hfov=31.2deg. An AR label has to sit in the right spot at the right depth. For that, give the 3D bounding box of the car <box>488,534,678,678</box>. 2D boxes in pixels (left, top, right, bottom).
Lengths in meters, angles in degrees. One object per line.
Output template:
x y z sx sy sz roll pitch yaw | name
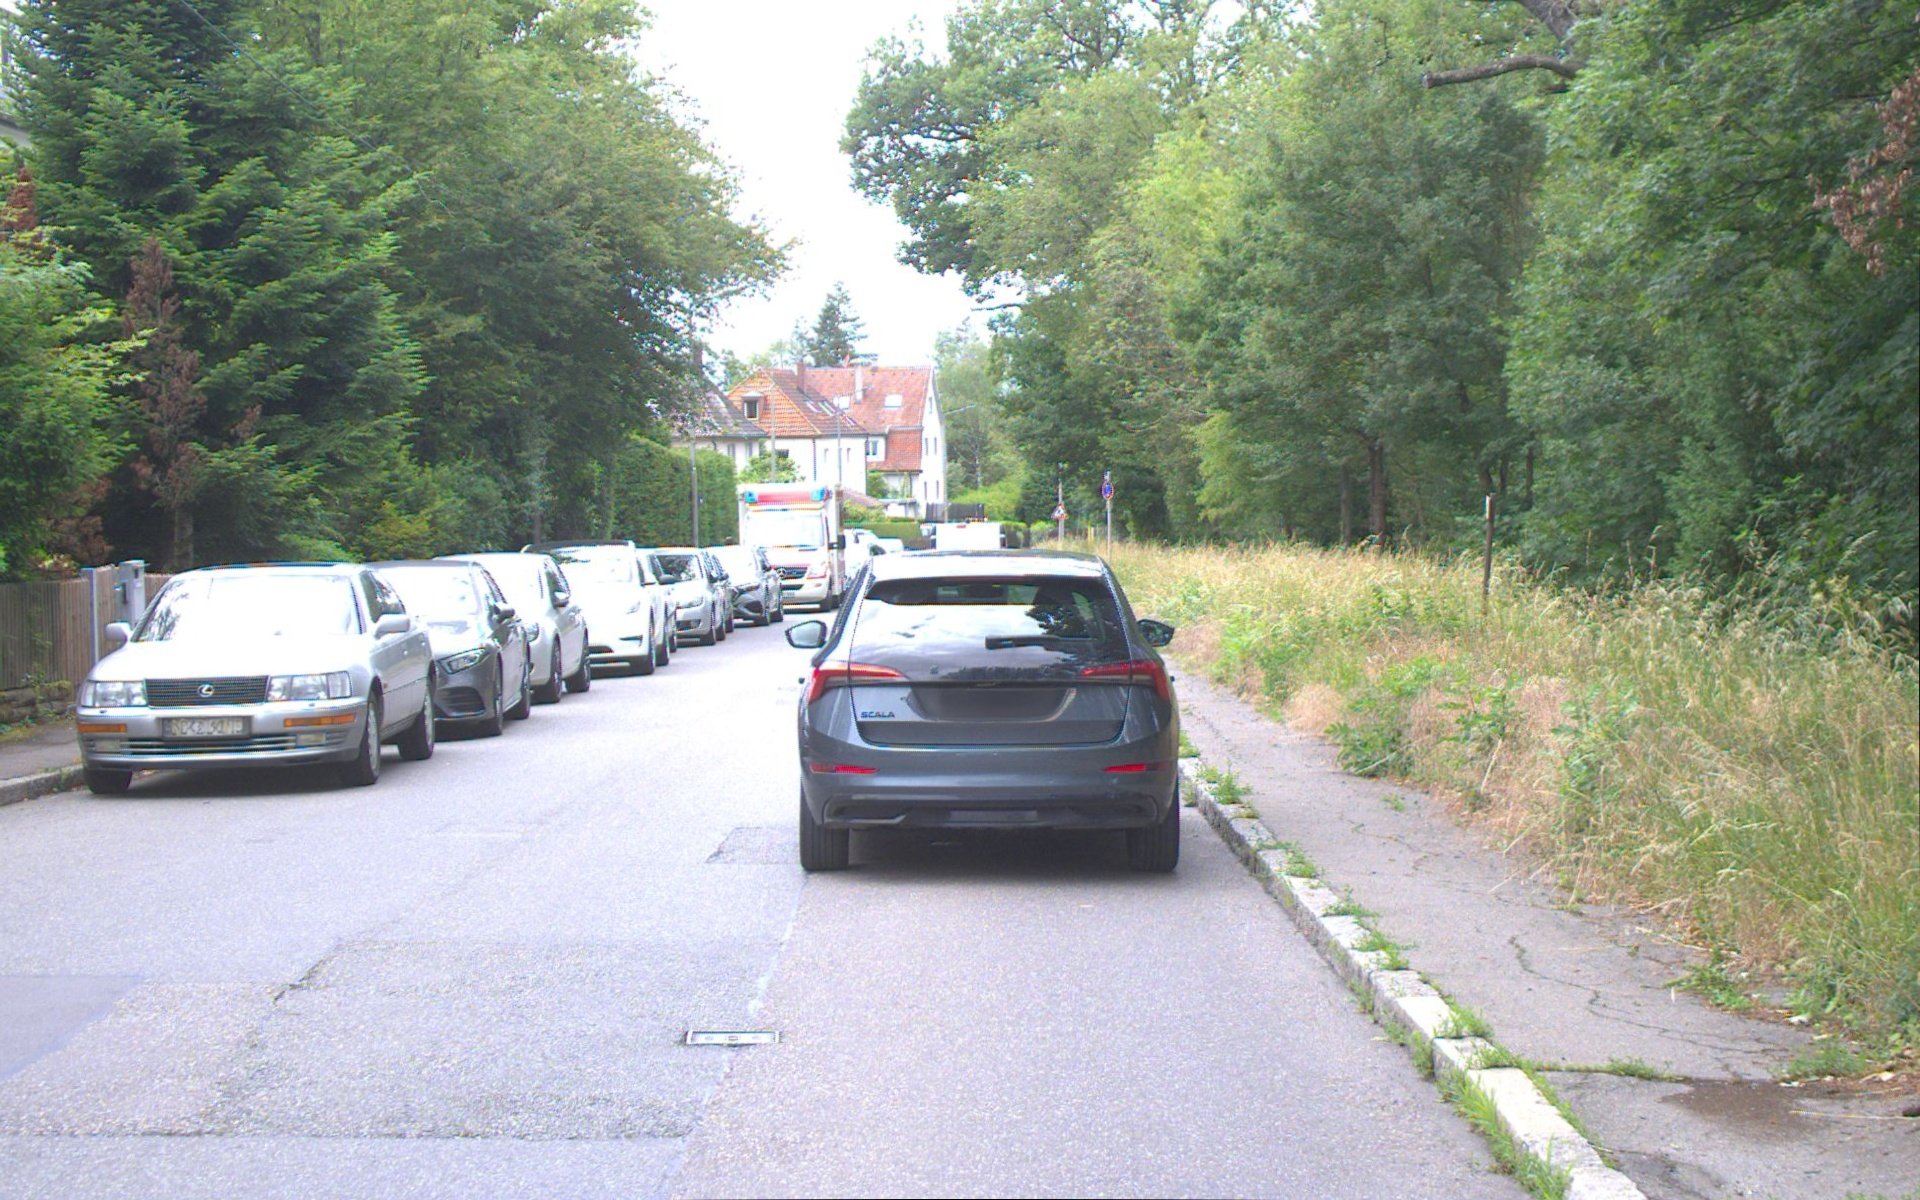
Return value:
-4.521 0.027 41.829 1.916 1.556 4.604 -3 1 -2 | car

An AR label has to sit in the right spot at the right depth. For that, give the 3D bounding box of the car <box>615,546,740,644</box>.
-4.689 -0.107 57.479 1.720 1.499 4.060 -3 1 0 | car

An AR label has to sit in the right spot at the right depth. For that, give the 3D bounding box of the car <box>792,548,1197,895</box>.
0.044 0.485 16.810 1.727 1.434 4.324 0 1 -3 | car

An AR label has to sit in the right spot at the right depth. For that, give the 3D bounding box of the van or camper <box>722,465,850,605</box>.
-3.791 -1.438 76.139 2.456 2.885 7.168 -1 1 0 | van or camper

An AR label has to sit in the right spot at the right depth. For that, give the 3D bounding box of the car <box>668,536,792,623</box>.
-4.305 -0.423 65.026 1.798 1.499 4.863 -3 1 2 | car

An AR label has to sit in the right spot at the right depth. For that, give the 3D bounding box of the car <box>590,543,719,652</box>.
-4.588 -0.064 52.114 1.720 1.499 4.008 -3 1 -3 | car

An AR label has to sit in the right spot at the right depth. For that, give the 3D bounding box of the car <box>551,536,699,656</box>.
-4.562 -0.086 47.252 1.720 1.499 3.817 -3 1 -2 | car

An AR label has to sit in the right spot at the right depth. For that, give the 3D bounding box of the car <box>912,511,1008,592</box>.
-0.045 -1.196 83.612 2.071 1.915 4.923 0 1 -3 | car

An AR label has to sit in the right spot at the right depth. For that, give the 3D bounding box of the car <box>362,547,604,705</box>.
-4.760 0.219 34.835 1.834 1.434 4.117 -2 1 0 | car

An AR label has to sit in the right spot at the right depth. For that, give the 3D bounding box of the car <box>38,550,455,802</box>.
-4.604 0.413 22.915 1.848 1.434 4.911 -2 1 -2 | car

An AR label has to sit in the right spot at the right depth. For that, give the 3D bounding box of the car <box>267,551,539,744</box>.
-4.586 0.335 28.827 1.734 1.434 4.263 -2 1 -3 | car

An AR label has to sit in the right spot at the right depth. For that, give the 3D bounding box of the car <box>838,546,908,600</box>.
-2.483 -0.790 98.945 1.763 1.441 4.473 -1 1 1 | car
